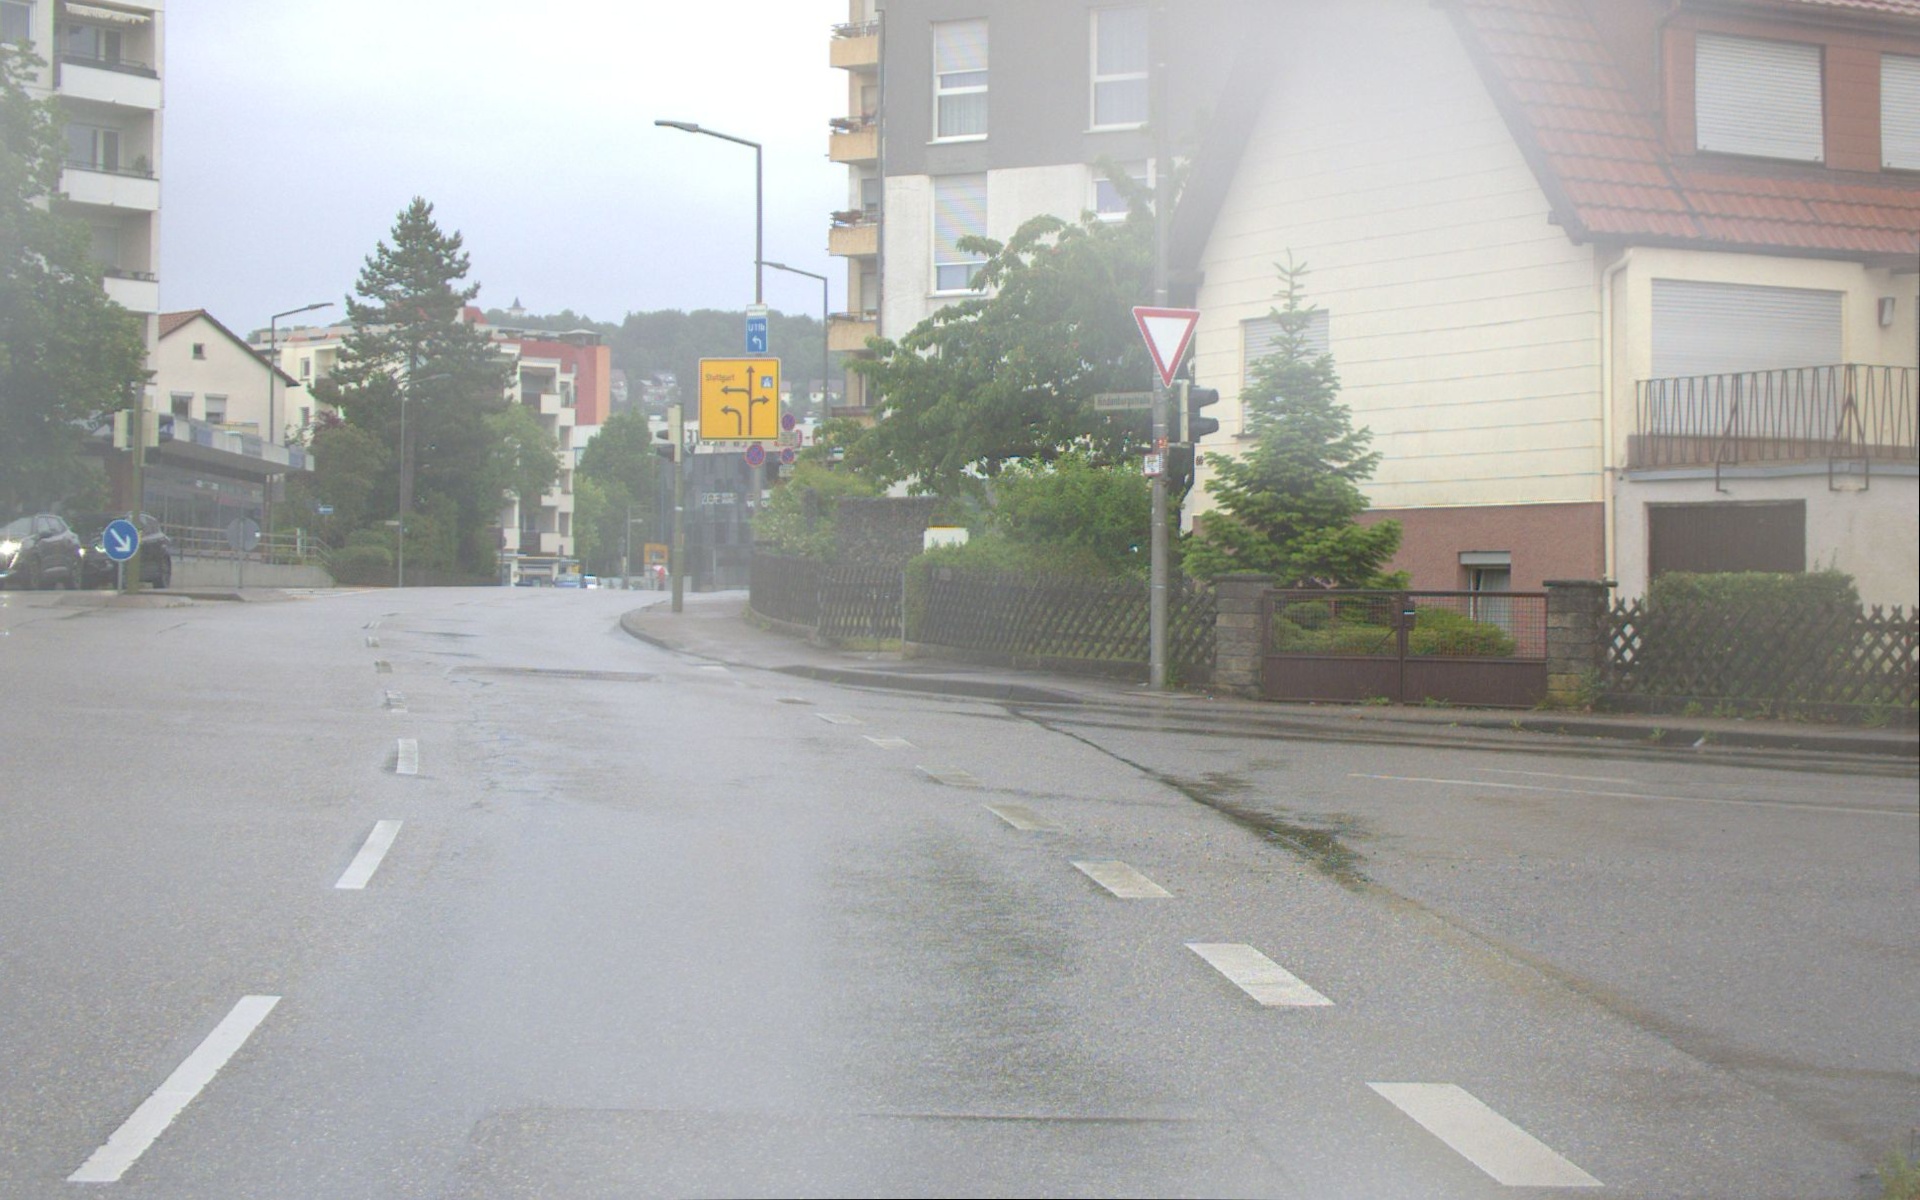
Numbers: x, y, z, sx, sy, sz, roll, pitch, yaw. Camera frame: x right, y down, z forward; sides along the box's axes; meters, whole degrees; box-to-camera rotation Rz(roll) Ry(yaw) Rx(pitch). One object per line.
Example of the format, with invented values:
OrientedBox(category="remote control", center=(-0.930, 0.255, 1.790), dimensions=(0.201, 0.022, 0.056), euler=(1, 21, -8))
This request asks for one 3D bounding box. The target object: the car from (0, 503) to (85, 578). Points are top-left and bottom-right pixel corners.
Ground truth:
OrientedBox(category="car", center=(-18.073, -1.157, 65.639), dimensions=(1.715, 1.382, 4.021), euler=(1, 1, -1))

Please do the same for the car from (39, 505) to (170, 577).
OrientedBox(category="car", center=(-17.740, -1.239, 71.417), dimensions=(1.778, 1.415, 3.831), euler=(1, 1, -1))
